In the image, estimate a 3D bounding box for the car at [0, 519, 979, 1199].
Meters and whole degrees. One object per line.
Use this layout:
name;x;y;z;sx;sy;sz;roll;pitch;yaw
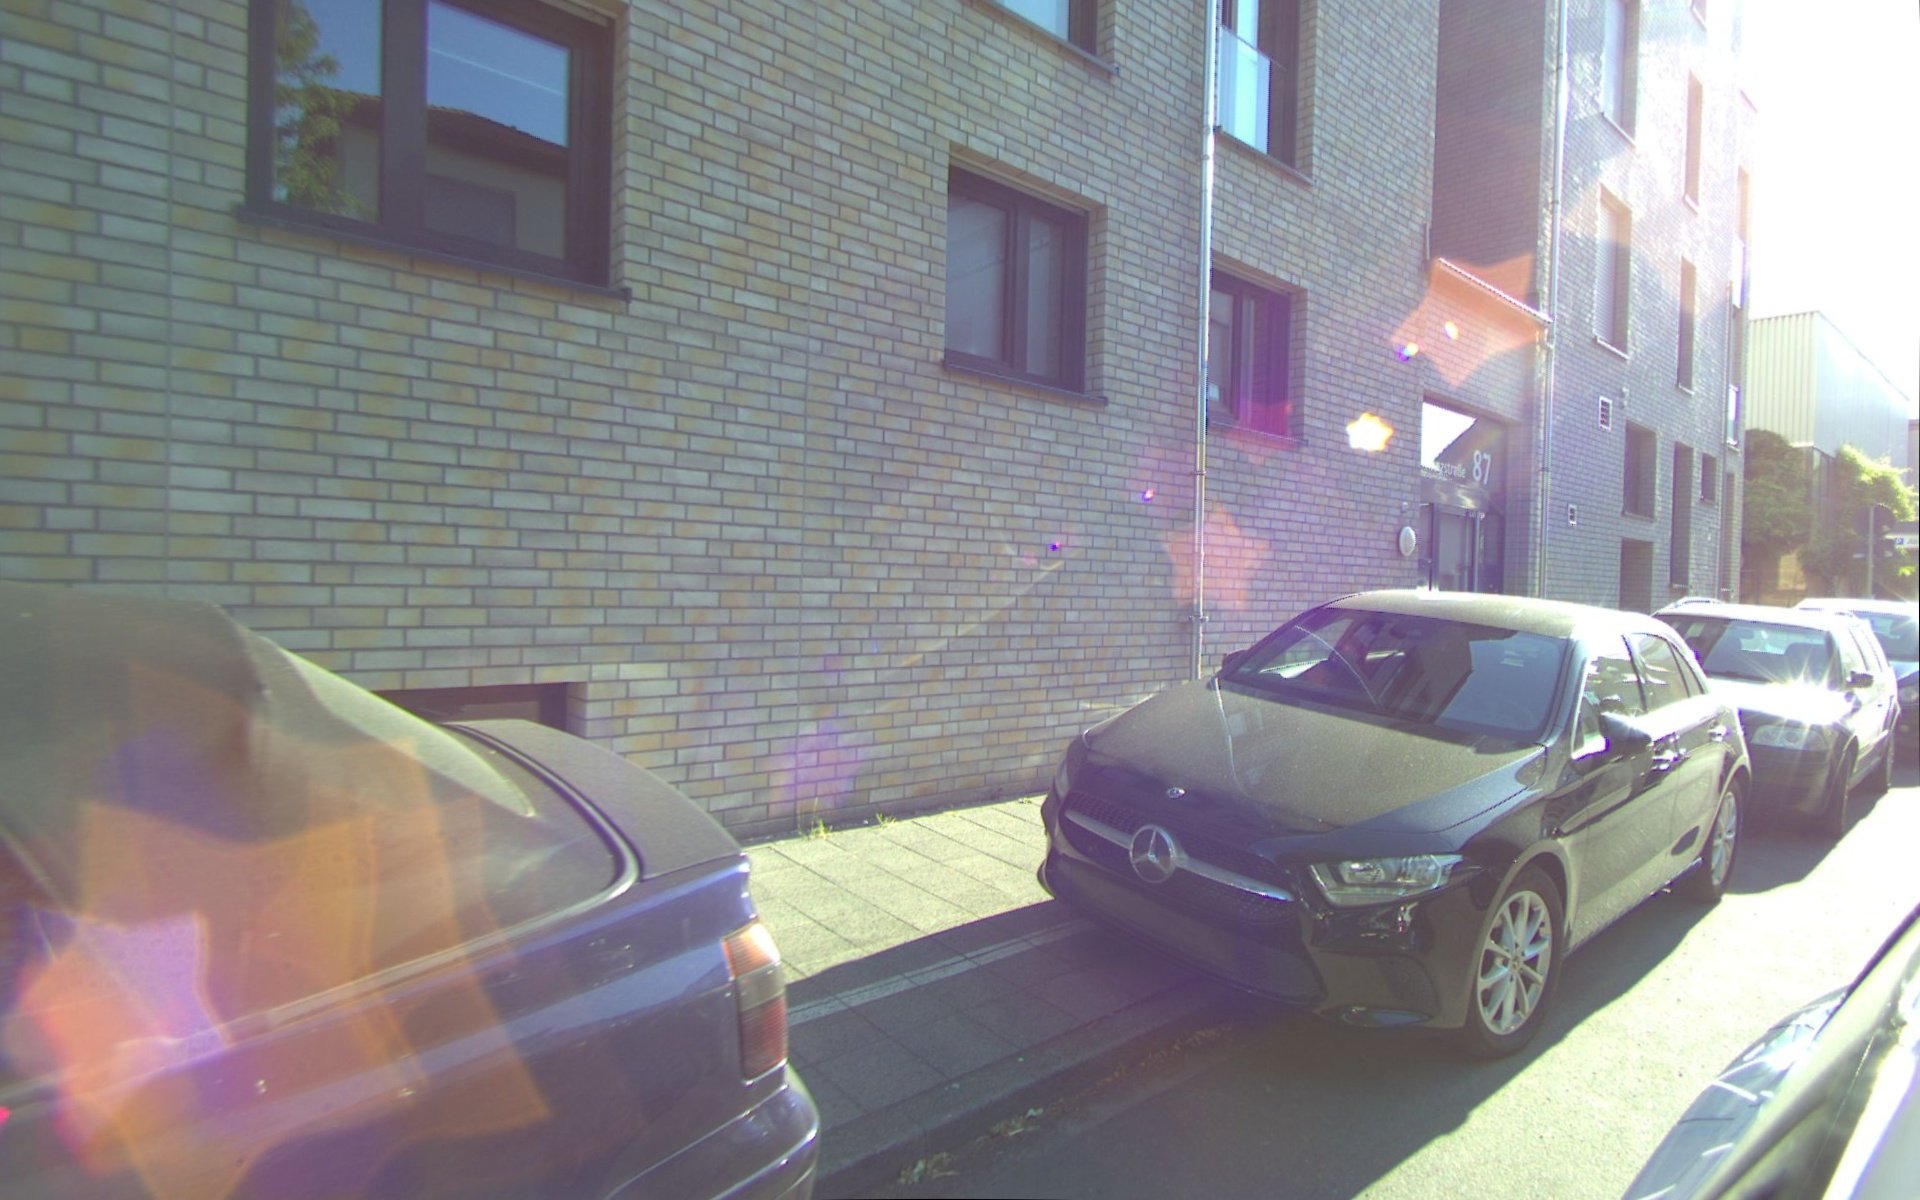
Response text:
car;-2.079;0.652;0.970;4.147;1.534;1.667;0;3;-43

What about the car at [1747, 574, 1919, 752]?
car;10.288;0.616;11.328;4.270;1.611;1.653;1;3;-44

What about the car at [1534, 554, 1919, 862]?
car;6.336;0.596;8.015;4.756;1.755;1.670;0;2;-42

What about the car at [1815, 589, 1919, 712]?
car;13.481;0.659;14.347;3.594;1.542;1.728;0;2;-45

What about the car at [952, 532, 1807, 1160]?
car;2.287;0.605;4.723;4.544;1.547;1.730;0;5;-41
